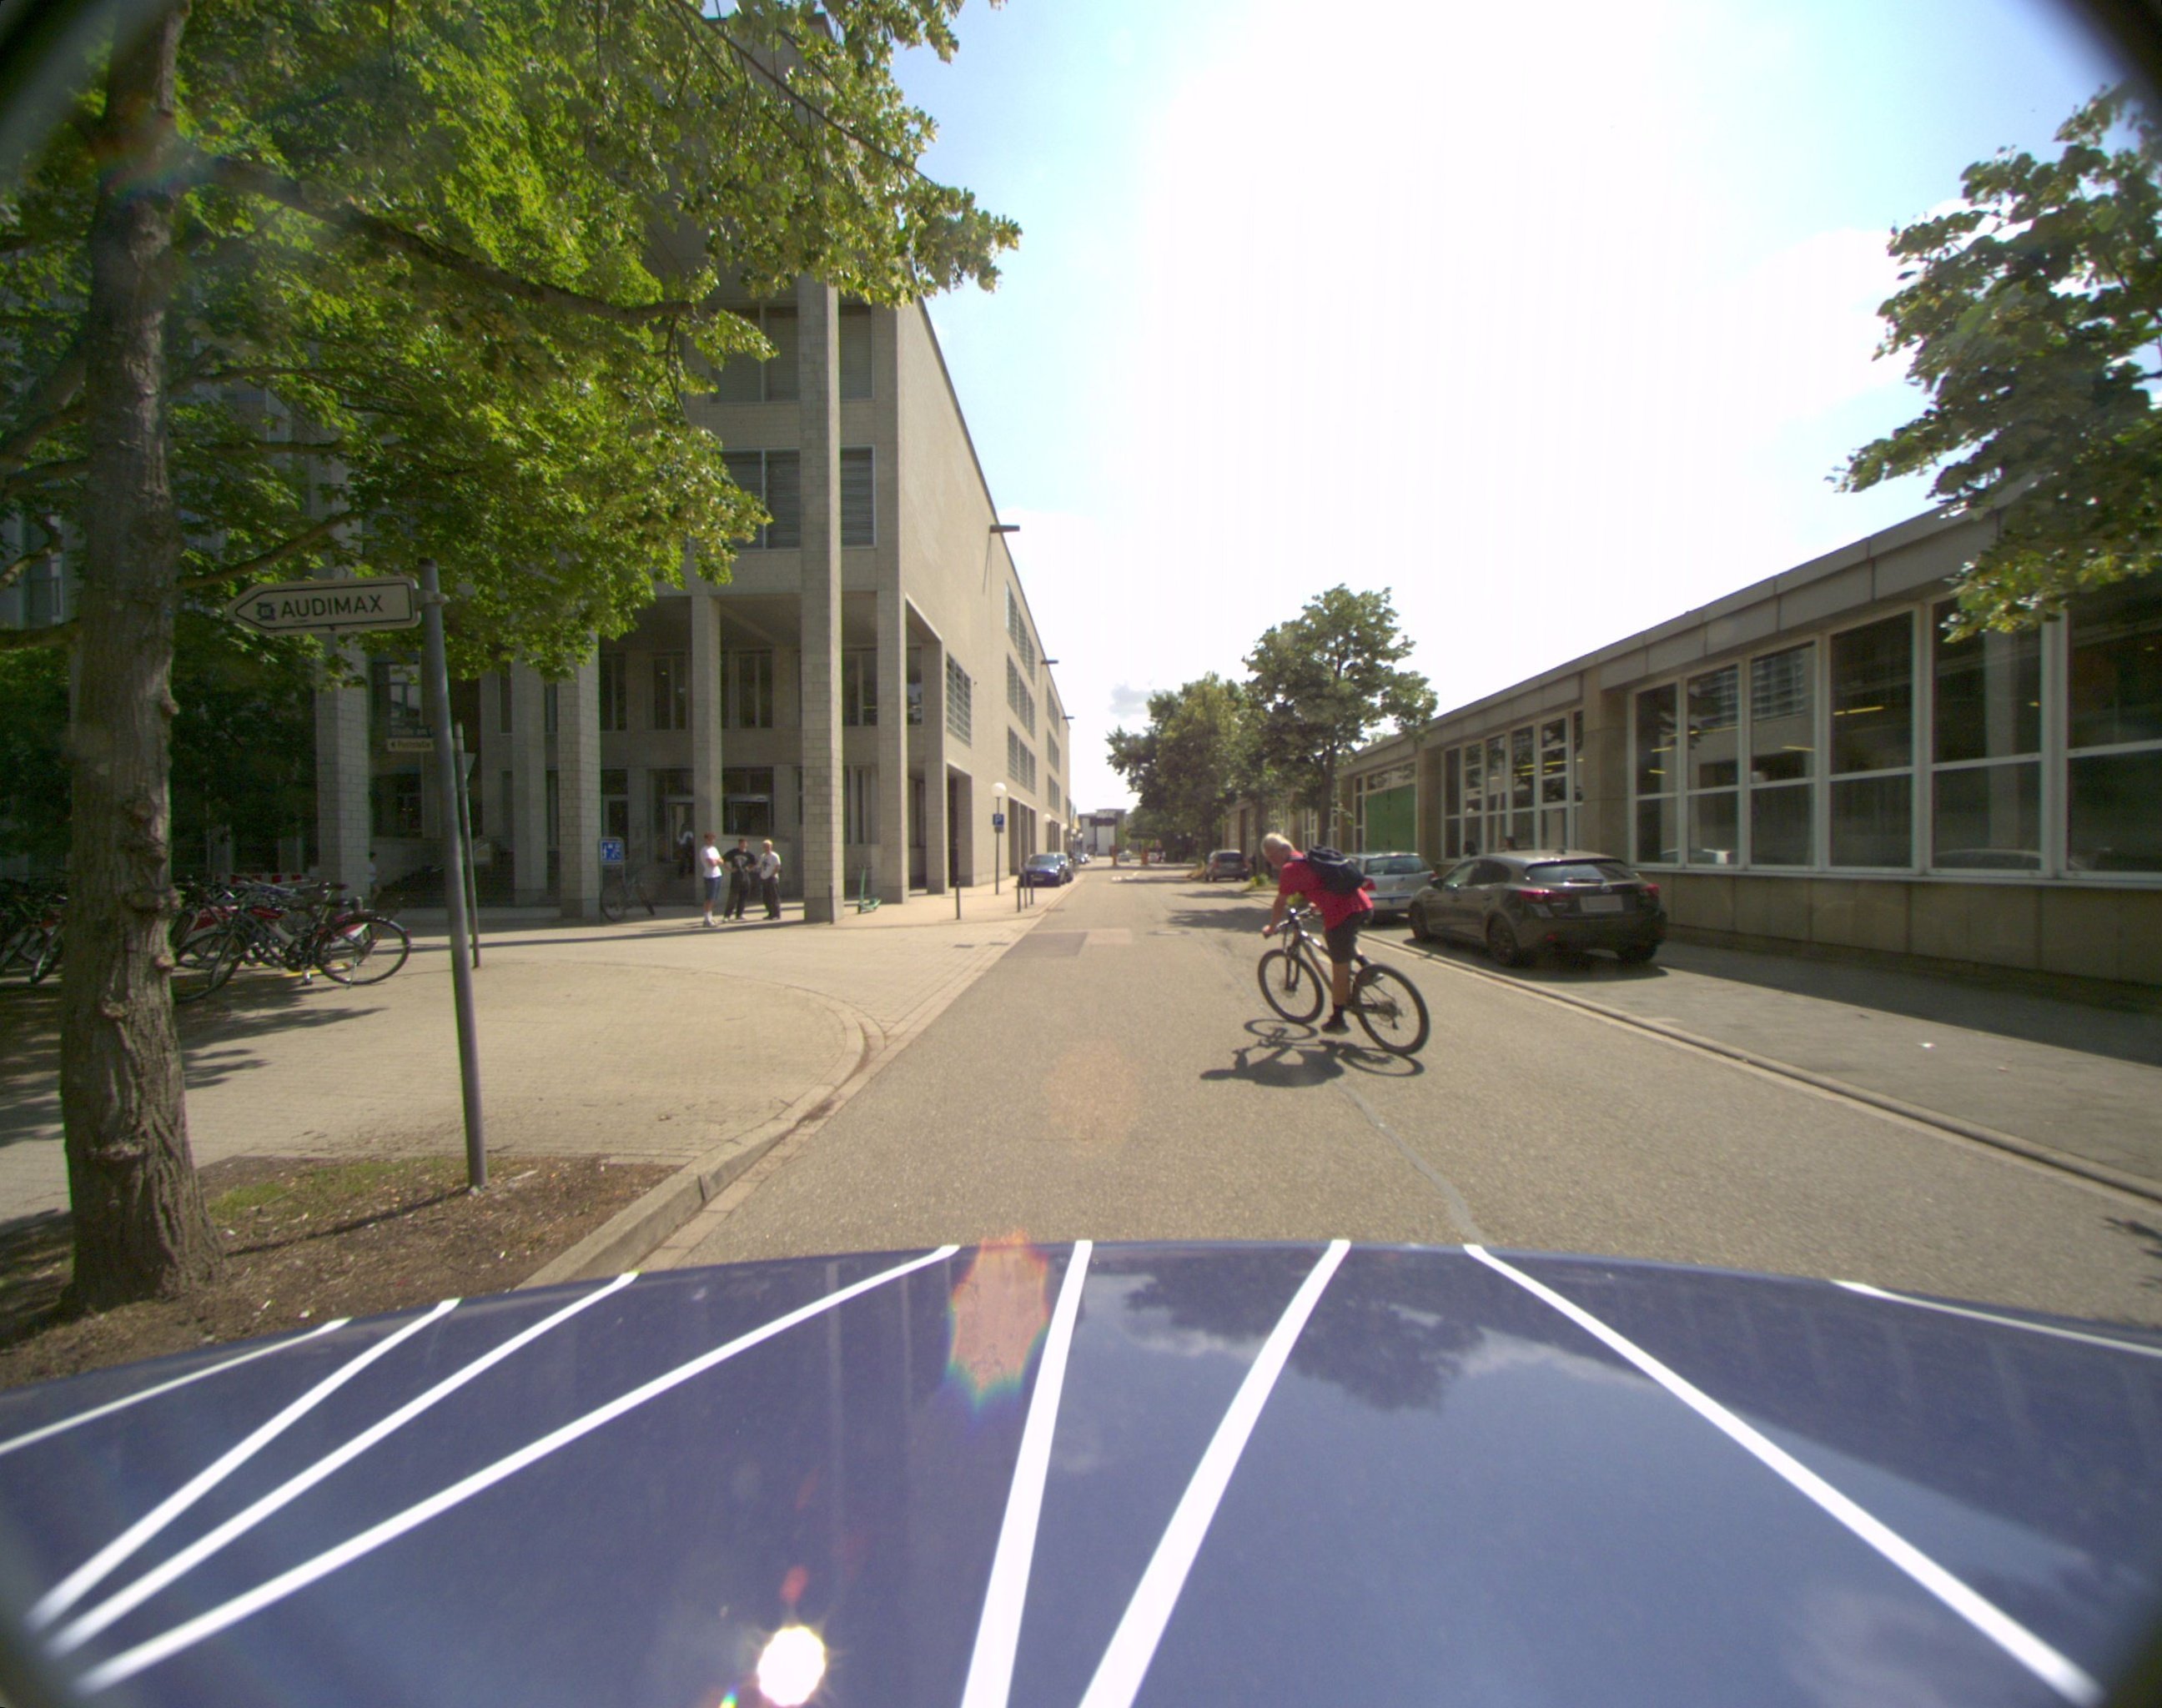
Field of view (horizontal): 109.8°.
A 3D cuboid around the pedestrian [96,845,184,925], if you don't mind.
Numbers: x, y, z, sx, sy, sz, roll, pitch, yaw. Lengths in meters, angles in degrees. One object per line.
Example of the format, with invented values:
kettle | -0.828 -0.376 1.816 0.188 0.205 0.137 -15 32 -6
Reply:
pedestrian | -20.965 0.668 16.957 0.938 1.730 0.748 -1 1 -17

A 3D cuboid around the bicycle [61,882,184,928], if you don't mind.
bicycle | -21.465 1.115 17.071 0.336 0.894 1.777 -1 1 8

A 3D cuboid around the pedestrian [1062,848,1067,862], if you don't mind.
pedestrian | -1.793 0.118 83.867 0.441 1.620 0.570 3 0 3

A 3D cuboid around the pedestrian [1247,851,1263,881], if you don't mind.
pedestrian | 9.232 0.628 40.276 0.604 1.571 0.552 2 0 33

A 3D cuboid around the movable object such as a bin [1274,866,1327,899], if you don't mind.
movable object such as a bin | 7.228 0.931 25.092 1.295 0.979 1.696 -2 -1 3

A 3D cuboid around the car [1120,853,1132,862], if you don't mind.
car | 7.610 0.618 128.822 1.803 1.440 3.676 -3 0 2

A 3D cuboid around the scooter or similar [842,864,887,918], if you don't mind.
scooter or similar | -5.207 0.870 18.356 0.564 1.205 1.510 2 1 2

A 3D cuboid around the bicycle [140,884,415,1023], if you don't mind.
bicycle | -7.813 0.897 7.482 0.604 1.135 1.790 2 1 35

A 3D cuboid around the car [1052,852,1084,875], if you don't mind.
car | -0.796 0.600 49.863 1.842 1.390 3.879 2 -1 3

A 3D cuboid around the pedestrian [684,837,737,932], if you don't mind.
pedestrian | -7.474 0.595 15.352 0.687 1.880 0.686 -1 2 0

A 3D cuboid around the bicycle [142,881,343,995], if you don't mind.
bicycle | -9.340 0.894 8.553 0.561 1.134 1.490 2 -1 0

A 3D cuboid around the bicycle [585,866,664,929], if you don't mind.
bicycle | -9.820 0.905 16.418 0.531 1.235 1.829 0 1 2

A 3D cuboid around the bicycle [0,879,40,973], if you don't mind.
bicycle | -13.435 0.859 8.695 0.565 1.118 1.698 1 -1 8

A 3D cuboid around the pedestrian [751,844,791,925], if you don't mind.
pedestrian | -6.748 0.651 16.548 0.613 1.719 0.542 0 1 4

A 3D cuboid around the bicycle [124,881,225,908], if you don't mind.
bicycle | -26.448 1.190 22.193 1.990 0.755 0.643 1 -1 -7

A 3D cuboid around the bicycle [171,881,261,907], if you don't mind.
bicycle | -26.220 1.215 23.052 1.988 0.755 0.644 1 -1 0

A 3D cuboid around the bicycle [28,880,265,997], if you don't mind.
bicycle | -10.091 0.862 8.284 0.491 1.134 1.529 1 -1 22

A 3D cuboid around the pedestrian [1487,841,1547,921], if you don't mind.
pedestrian | 8.685 0.516 15.146 0.665 1.533 0.795 -1 1 -28

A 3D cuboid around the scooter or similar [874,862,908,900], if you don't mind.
scooter or similar | -6.557 0.921 26.171 0.566 1.205 1.506 -2 3 -38

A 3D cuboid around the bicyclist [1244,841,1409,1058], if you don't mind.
bicyclist | 1.861 0.685 5.902 0.838 1.534 0.958 2 1 -7

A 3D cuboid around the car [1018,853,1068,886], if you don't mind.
car | -1.654 0.697 34.518 1.842 1.390 3.879 2 -1 3

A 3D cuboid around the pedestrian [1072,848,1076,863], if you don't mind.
pedestrian | -0.770 0.151 83.777 0.382 1.620 0.519 3 0 4

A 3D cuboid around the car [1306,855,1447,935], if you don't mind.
car | 6.219 0.788 16.455 1.633 1.440 3.753 -3 0 2

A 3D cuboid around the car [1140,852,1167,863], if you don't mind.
car | 10.281 0.456 108.458 3.673 1.440 1.804 -3 0 1

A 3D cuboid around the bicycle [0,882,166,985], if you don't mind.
bicycle | -11.747 0.880 8.737 0.481 1.079 1.516 1 -1 8

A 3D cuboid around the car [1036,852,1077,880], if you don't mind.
car | -1.235 0.623 39.991 1.842 1.390 3.879 2 -1 3

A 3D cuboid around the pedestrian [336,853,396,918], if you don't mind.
pedestrian | -19.534 0.840 20.771 0.936 1.730 0.750 0 1 11

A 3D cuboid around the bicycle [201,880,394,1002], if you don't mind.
bicycle | -8.426 0.887 8.260 0.561 1.135 1.489 2 1 0

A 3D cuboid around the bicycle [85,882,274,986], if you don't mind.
bicycle | -10.503 0.891 8.925 0.460 1.079 1.441 2 -1 0

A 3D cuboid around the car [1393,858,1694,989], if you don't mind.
car | 6.141 0.810 10.794 1.729 1.427 4.290 -2 -1 2

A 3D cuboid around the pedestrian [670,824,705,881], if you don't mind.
pedestrian | -12.096 -0.054 23.378 0.689 1.724 0.685 0 1 3

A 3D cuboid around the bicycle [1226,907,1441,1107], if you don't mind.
bicycle | 1.842 1.070 5.945 0.818 1.036 1.929 -1 4 -8

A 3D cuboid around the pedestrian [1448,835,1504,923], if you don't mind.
pedestrian | 7.999 0.484 15.392 0.602 1.718 0.795 -1 1 -28

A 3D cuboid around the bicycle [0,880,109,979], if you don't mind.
bicycle | -12.252 0.848 8.473 0.481 1.079 1.698 1 -1 8

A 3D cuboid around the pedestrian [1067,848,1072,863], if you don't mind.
pedestrian | -1.266 0.136 83.828 0.382 1.620 0.519 3 0 4

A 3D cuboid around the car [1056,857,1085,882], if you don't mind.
car | -0.714 1.109 54.857 1.798 1.691 4.001 3 0 3

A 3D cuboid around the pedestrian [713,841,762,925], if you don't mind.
pedestrian | -7.475 0.610 16.545 0.811 1.787 0.618 -1 1 -41

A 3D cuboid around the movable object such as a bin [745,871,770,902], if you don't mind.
movable object such as a bin | -10.109 1.011 23.729 0.513 0.944 0.512 3 0 1

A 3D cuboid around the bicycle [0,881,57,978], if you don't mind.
bicycle | -12.939 0.882 8.513 0.481 1.118 1.698 1 -1 8

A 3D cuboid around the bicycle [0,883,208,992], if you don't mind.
bicycle | -10.993 0.890 8.580 0.460 1.079 1.474 2 -1 4

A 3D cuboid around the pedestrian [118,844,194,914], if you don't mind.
pedestrian | -23.711 0.622 19.503 0.938 1.730 0.748 -1 1 -16

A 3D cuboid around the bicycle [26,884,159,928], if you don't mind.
bicycle | -22.296 1.146 17.187 0.447 0.894 1.779 -1 -1 21

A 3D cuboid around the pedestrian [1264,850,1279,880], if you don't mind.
pedestrian | 10.075 0.585 40.257 0.605 1.571 0.551 2 0 0

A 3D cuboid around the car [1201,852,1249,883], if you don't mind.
car | 7.262 0.654 38.625 1.803 1.440 3.676 -3 0 2
